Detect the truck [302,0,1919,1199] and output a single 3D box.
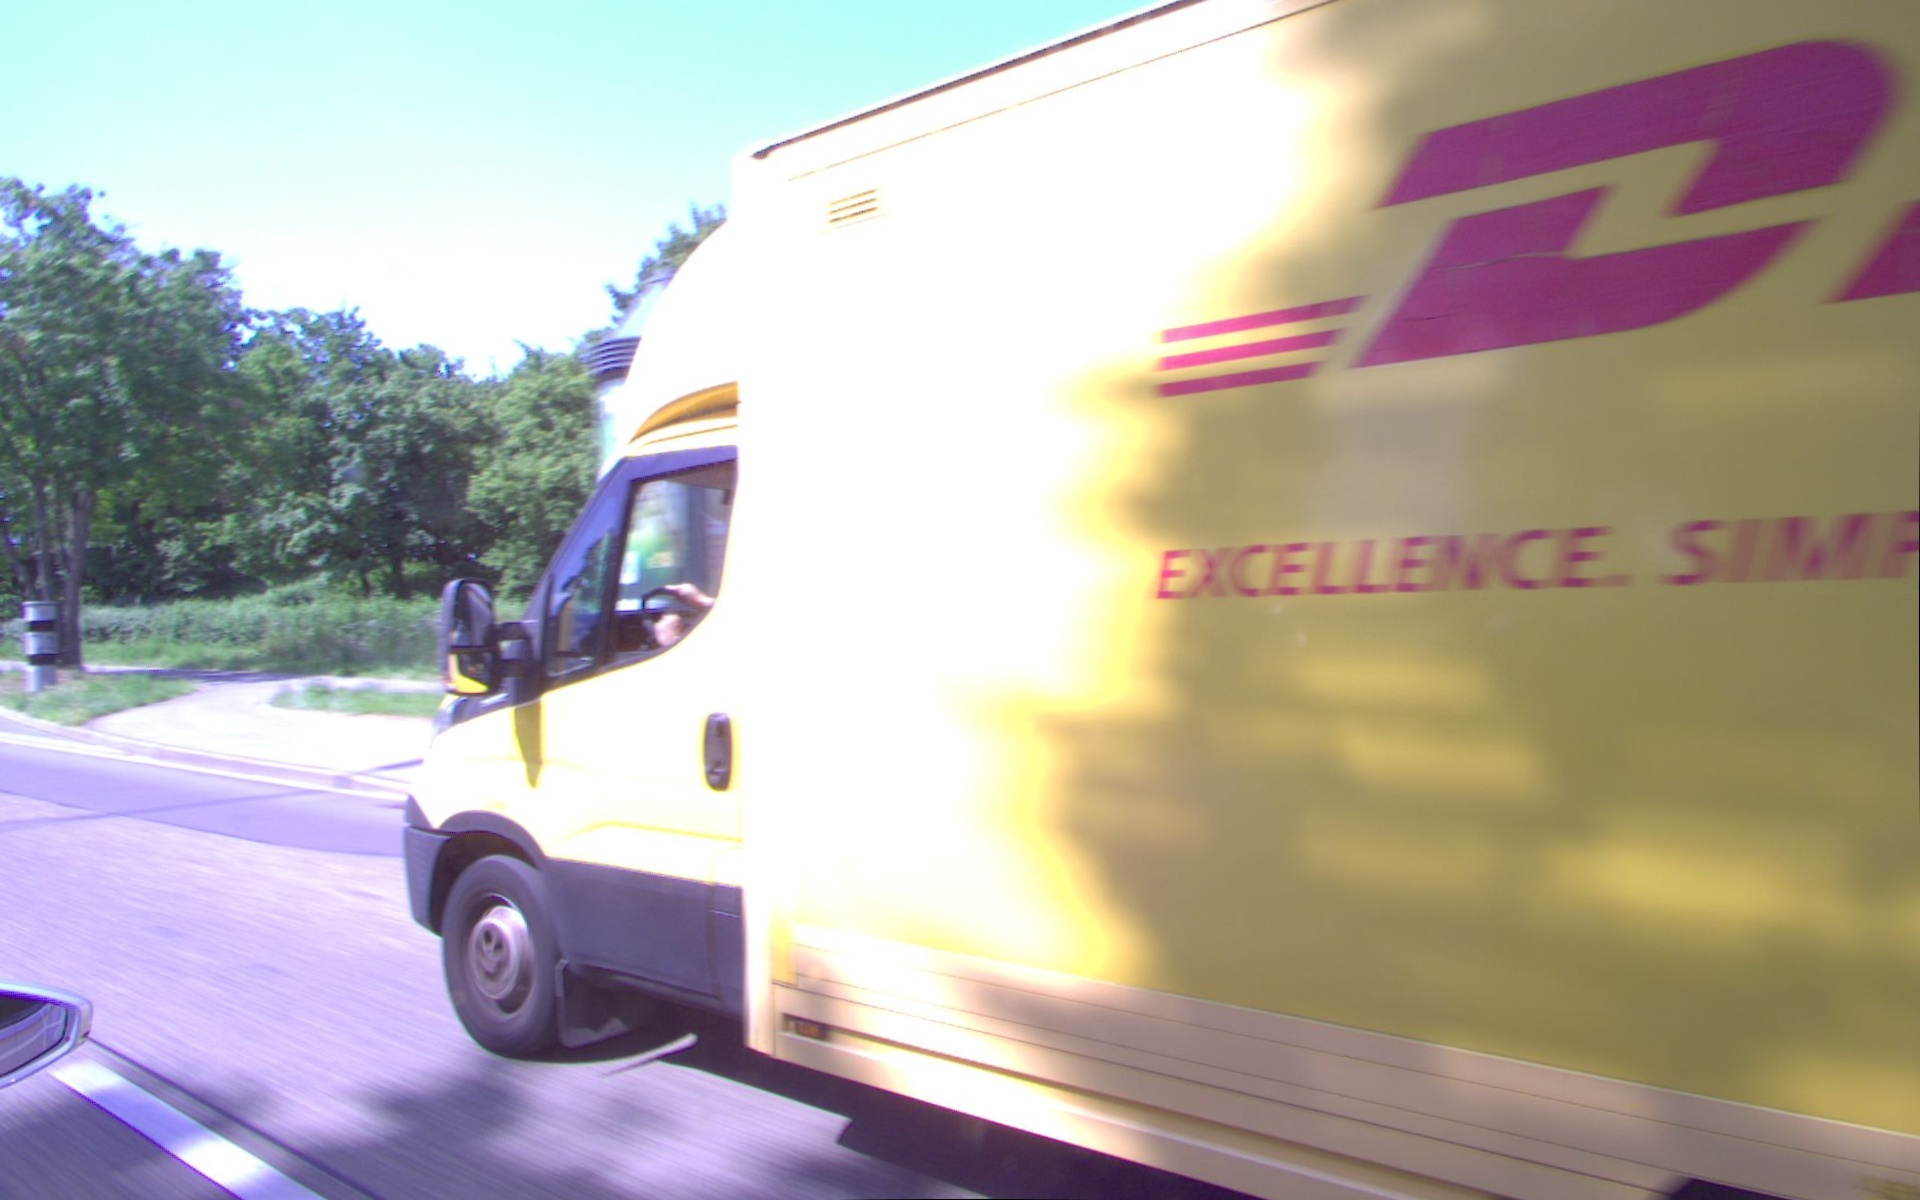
[{"bbox_3d":[1.346,0.090,2.813,7.912,2.917,2.261,-1,-1,32],"label":"truck"}]
